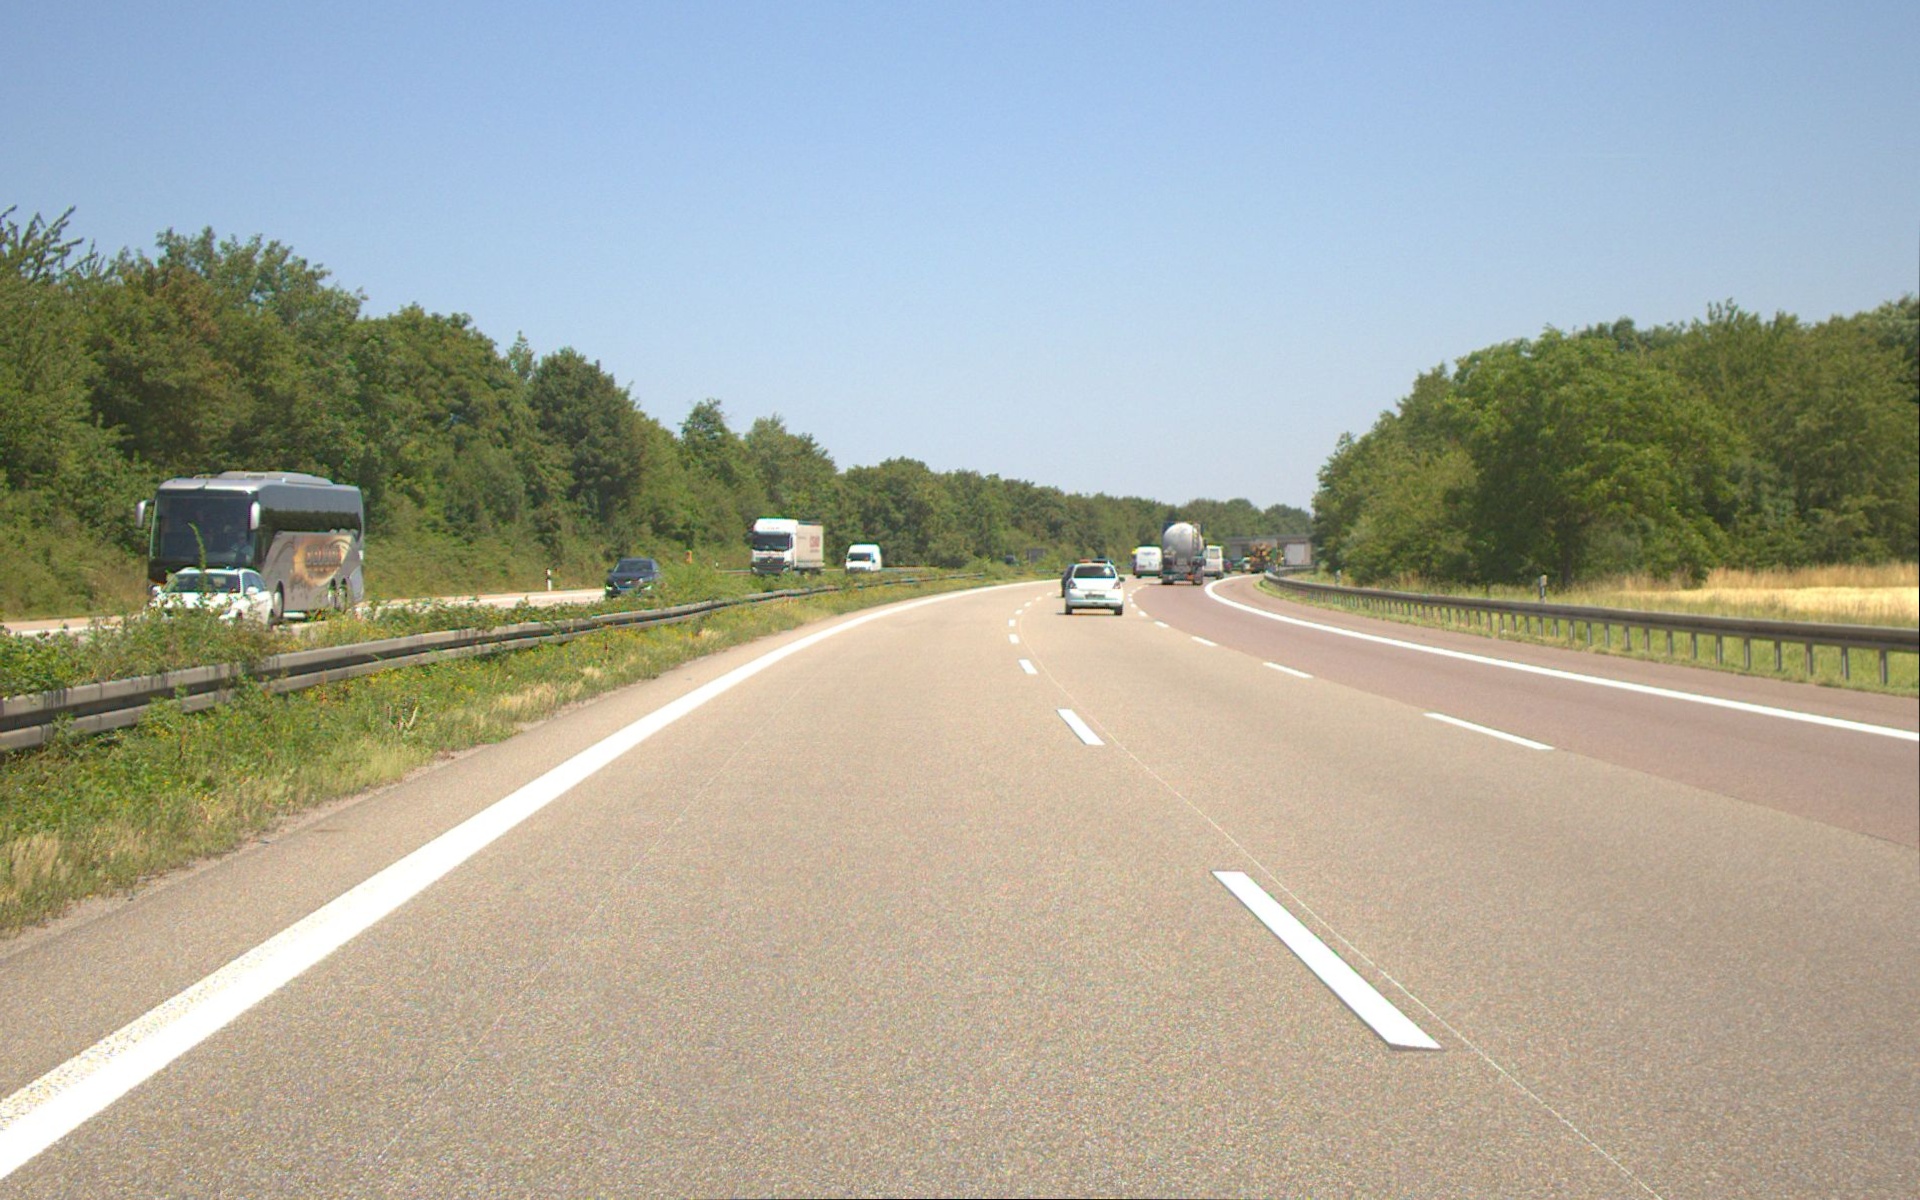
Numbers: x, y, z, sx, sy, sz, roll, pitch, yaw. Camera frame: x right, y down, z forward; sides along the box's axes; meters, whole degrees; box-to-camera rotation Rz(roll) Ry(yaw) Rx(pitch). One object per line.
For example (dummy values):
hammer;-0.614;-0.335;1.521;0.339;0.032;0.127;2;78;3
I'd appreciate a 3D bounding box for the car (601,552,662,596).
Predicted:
car;-12.459;-0.995;130.647;1.825;1.626;4.559;0;1;0

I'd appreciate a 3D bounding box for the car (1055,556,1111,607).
car;3.664;-0.560;102.088;1.627;1.474;4.000;0;0;2

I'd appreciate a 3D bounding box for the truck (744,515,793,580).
truck;-11.801;-3.258;212.351;2.702;3.952;4.443;0;1;1

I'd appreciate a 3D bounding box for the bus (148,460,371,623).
bus;-17.206;-1.416;85.449;2.741;3.695;13.000;1;1;0

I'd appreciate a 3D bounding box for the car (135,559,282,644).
car;-14.061;-0.001;64.545;1.768;1.509;4.331;1;1;0

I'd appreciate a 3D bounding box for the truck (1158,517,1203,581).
truck;14.078;-3.221;219.910;2.739;4.038;10.453;0;0;3
